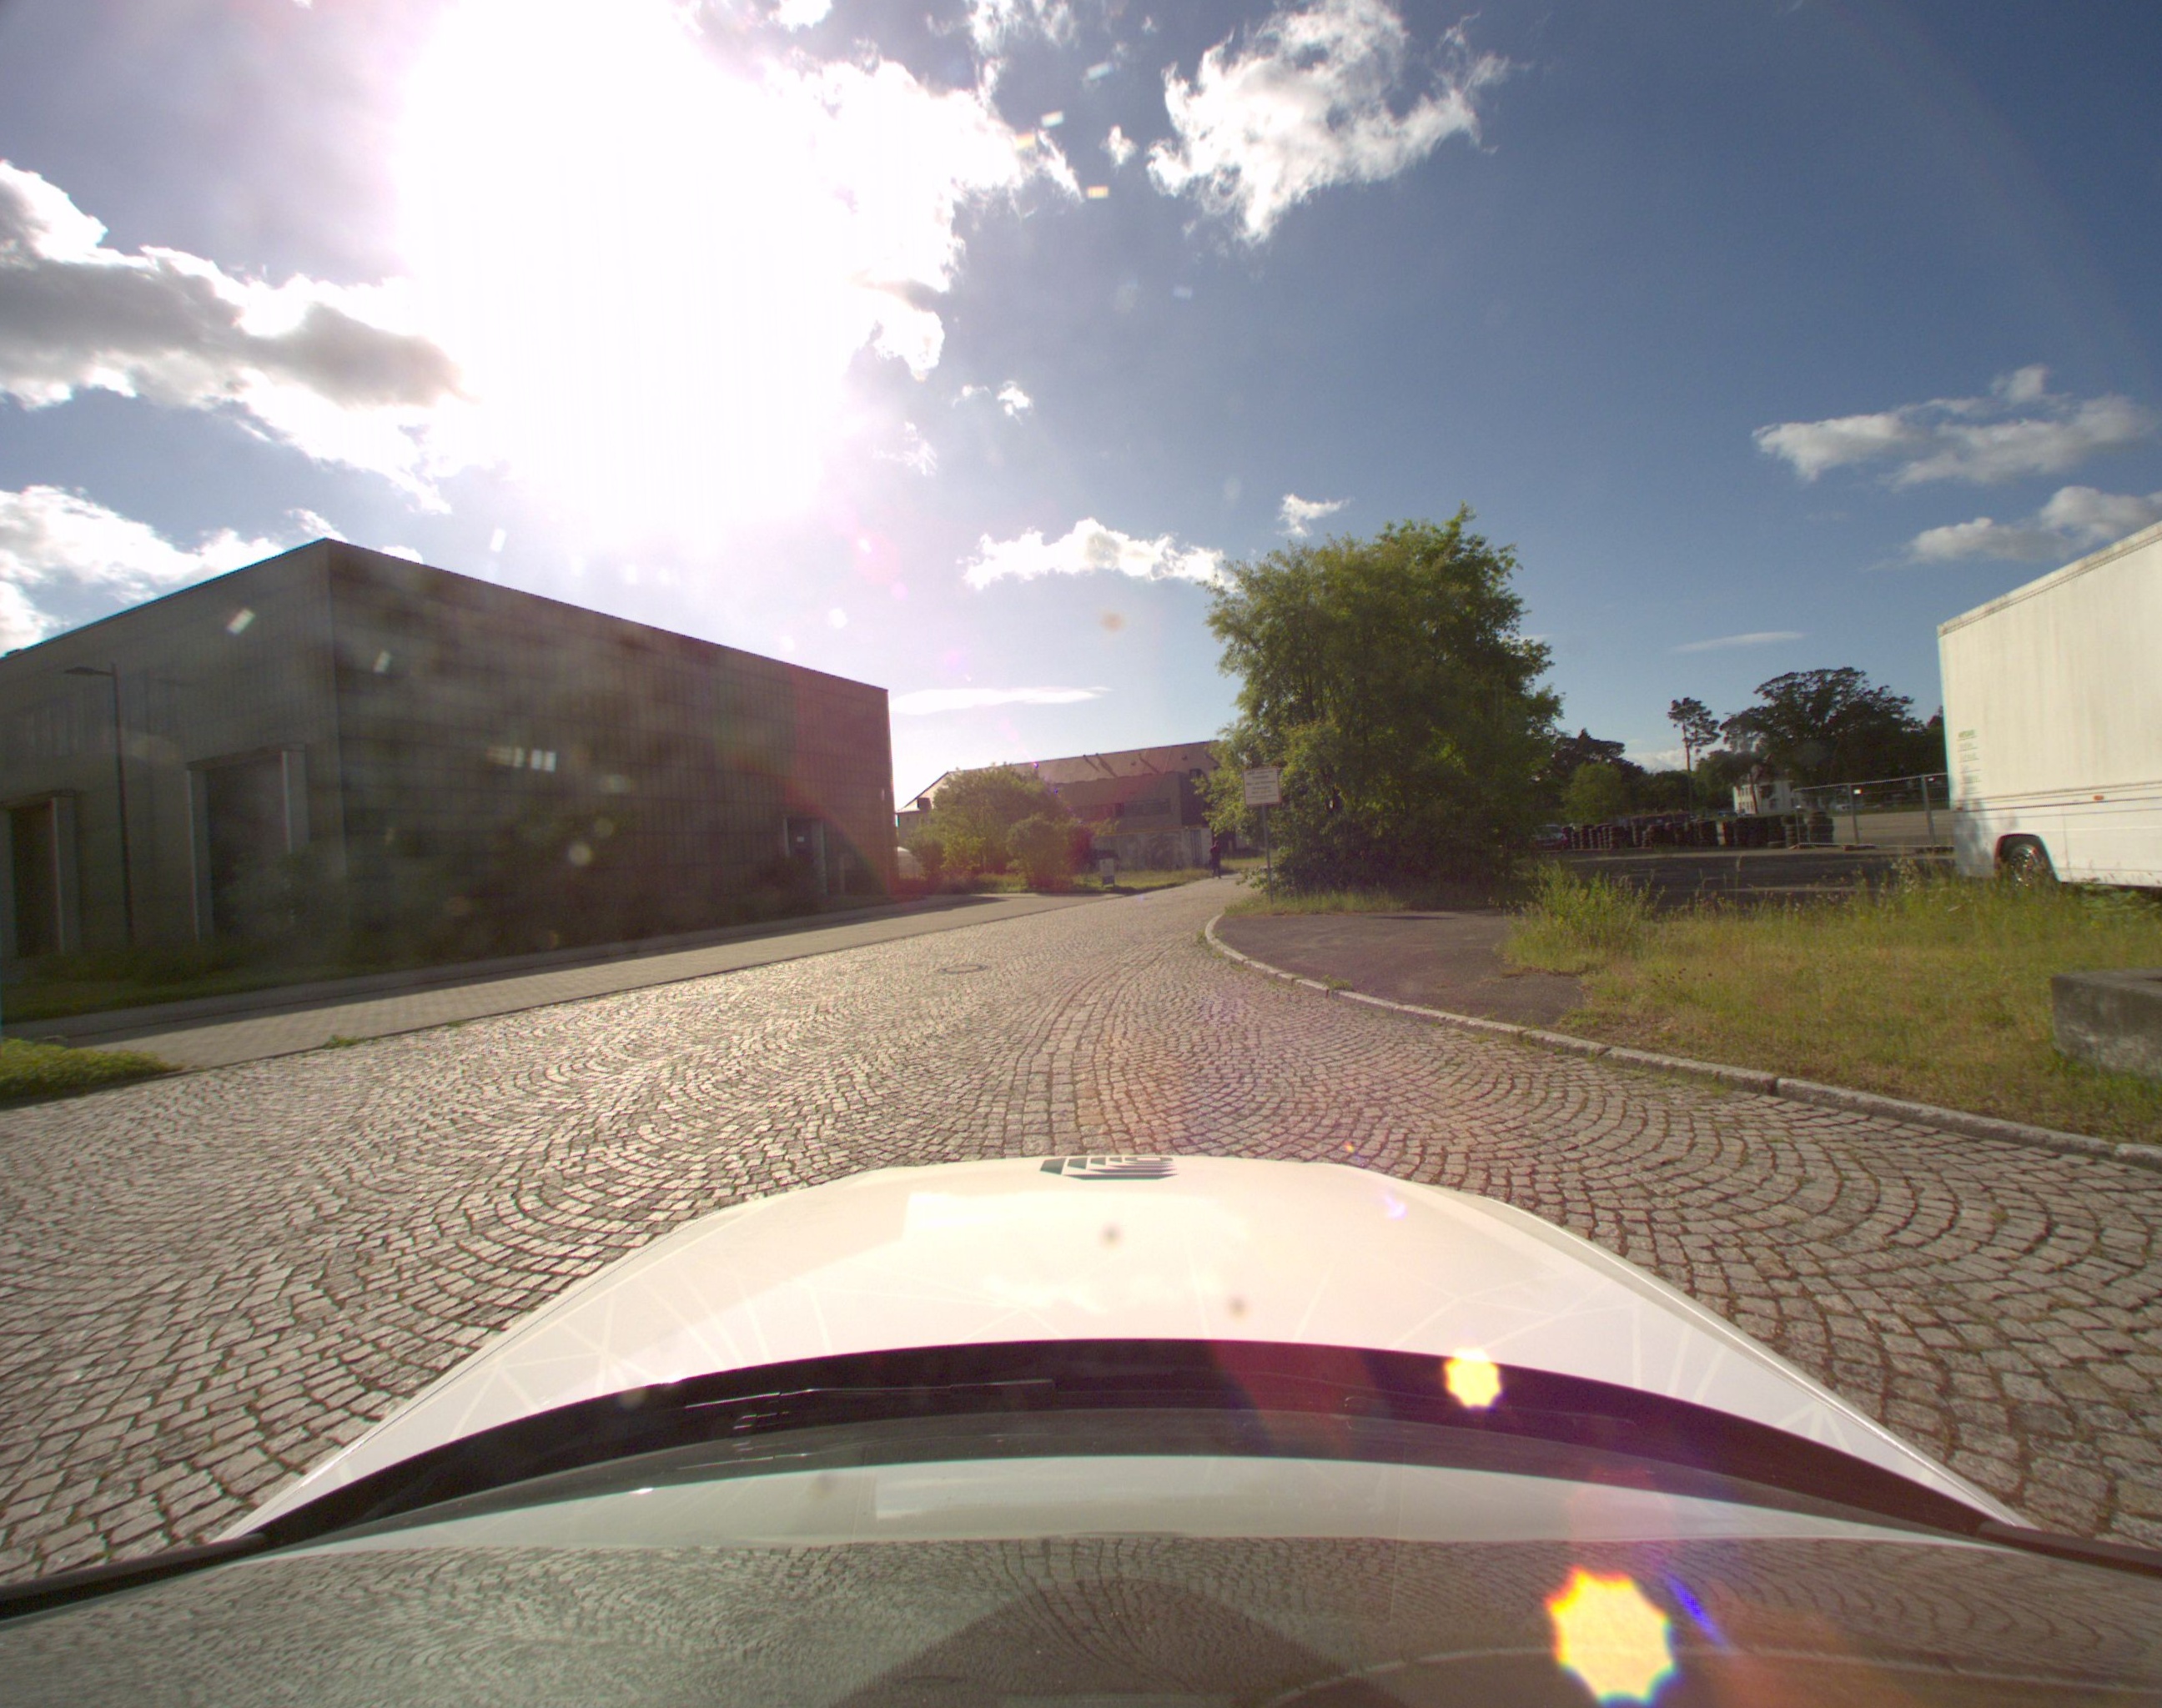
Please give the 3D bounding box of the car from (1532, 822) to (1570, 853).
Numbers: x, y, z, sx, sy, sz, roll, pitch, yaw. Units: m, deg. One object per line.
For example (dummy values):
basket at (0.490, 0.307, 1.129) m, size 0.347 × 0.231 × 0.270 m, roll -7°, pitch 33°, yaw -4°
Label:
car at (23.741, -0.832, 41.235) m, size 1.526 × 1.407 × 3.600 m, roll -4°, pitch 0°, yaw 29°

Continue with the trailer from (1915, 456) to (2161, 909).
trailer at (10.073, -1.506, 5.229) m, size 2.747 × 3.910 × 10.950 m, roll -4°, pitch 0°, yaw 25°

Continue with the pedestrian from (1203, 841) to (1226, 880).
pedestrian at (6.409, 0.303, 39.112) m, size 0.788 × 1.780 × 1.074 m, roll -2°, pitch 0°, yaw 21°
